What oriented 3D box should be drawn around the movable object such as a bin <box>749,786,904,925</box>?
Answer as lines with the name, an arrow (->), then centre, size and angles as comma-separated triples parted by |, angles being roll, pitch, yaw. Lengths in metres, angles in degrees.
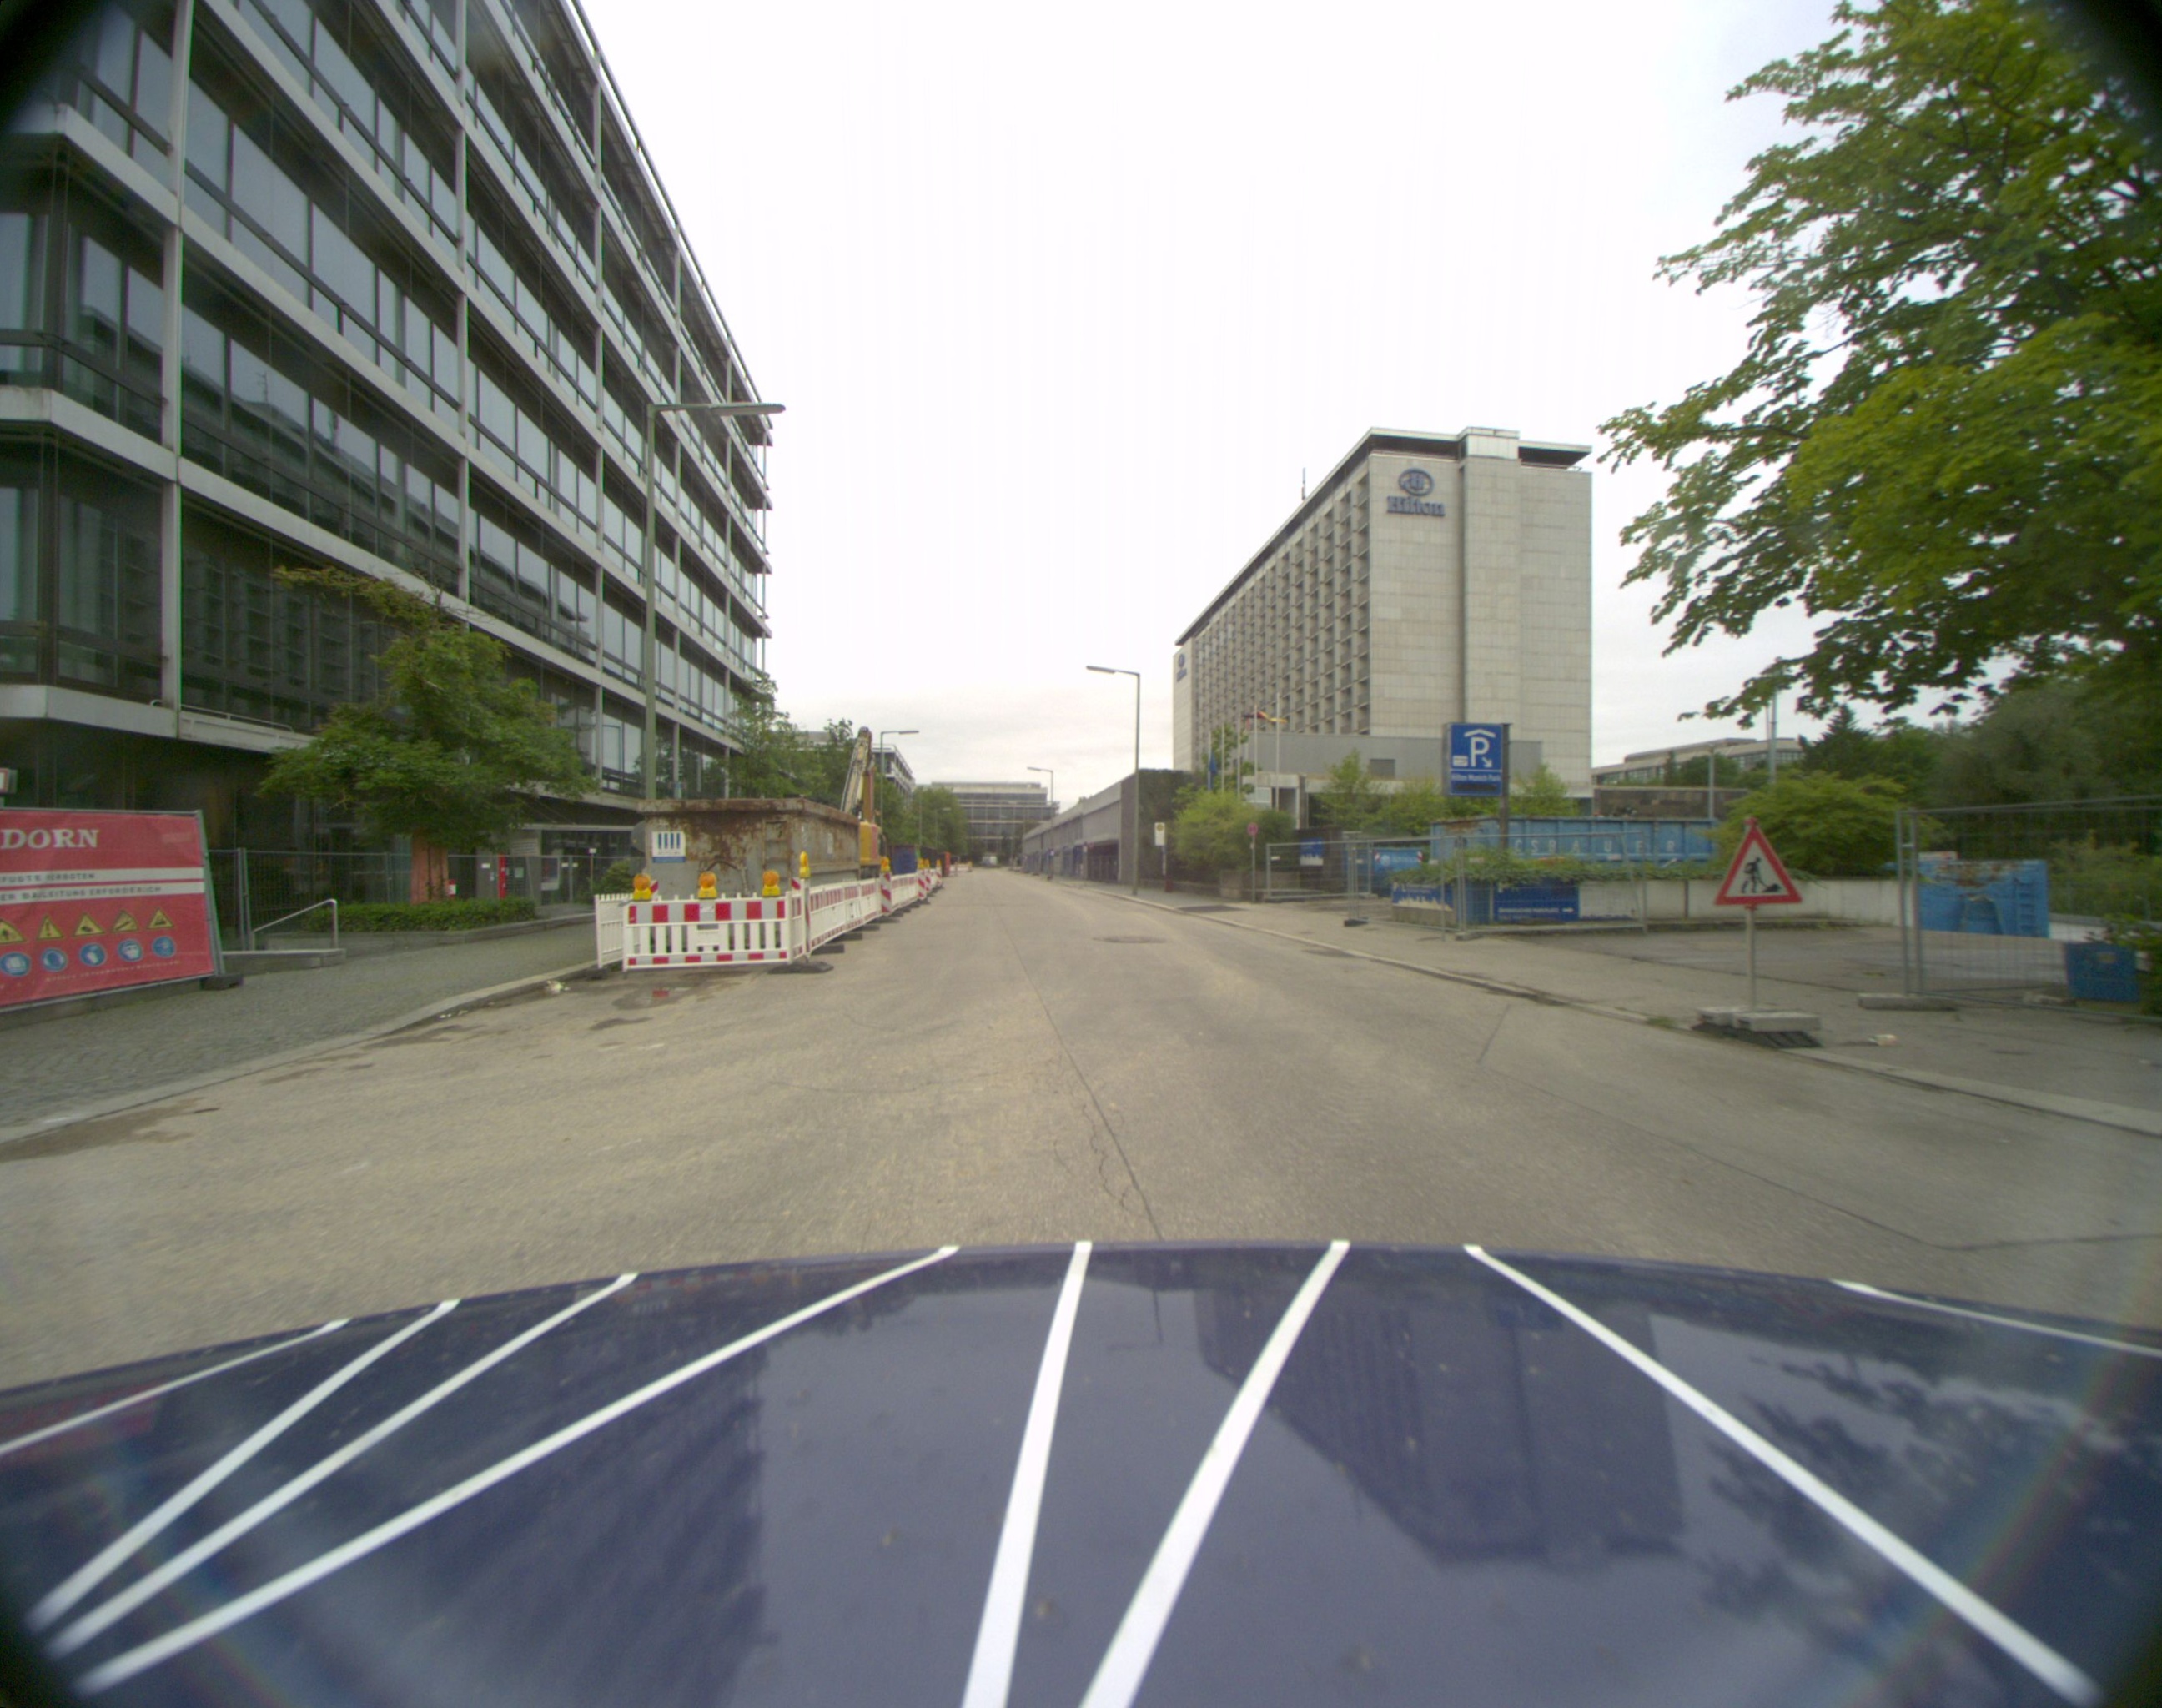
movable object such as a bin -> -7.821, 0.037, 24.827 | 3.252, 3.695, 9.000 | 0, 0, -8
